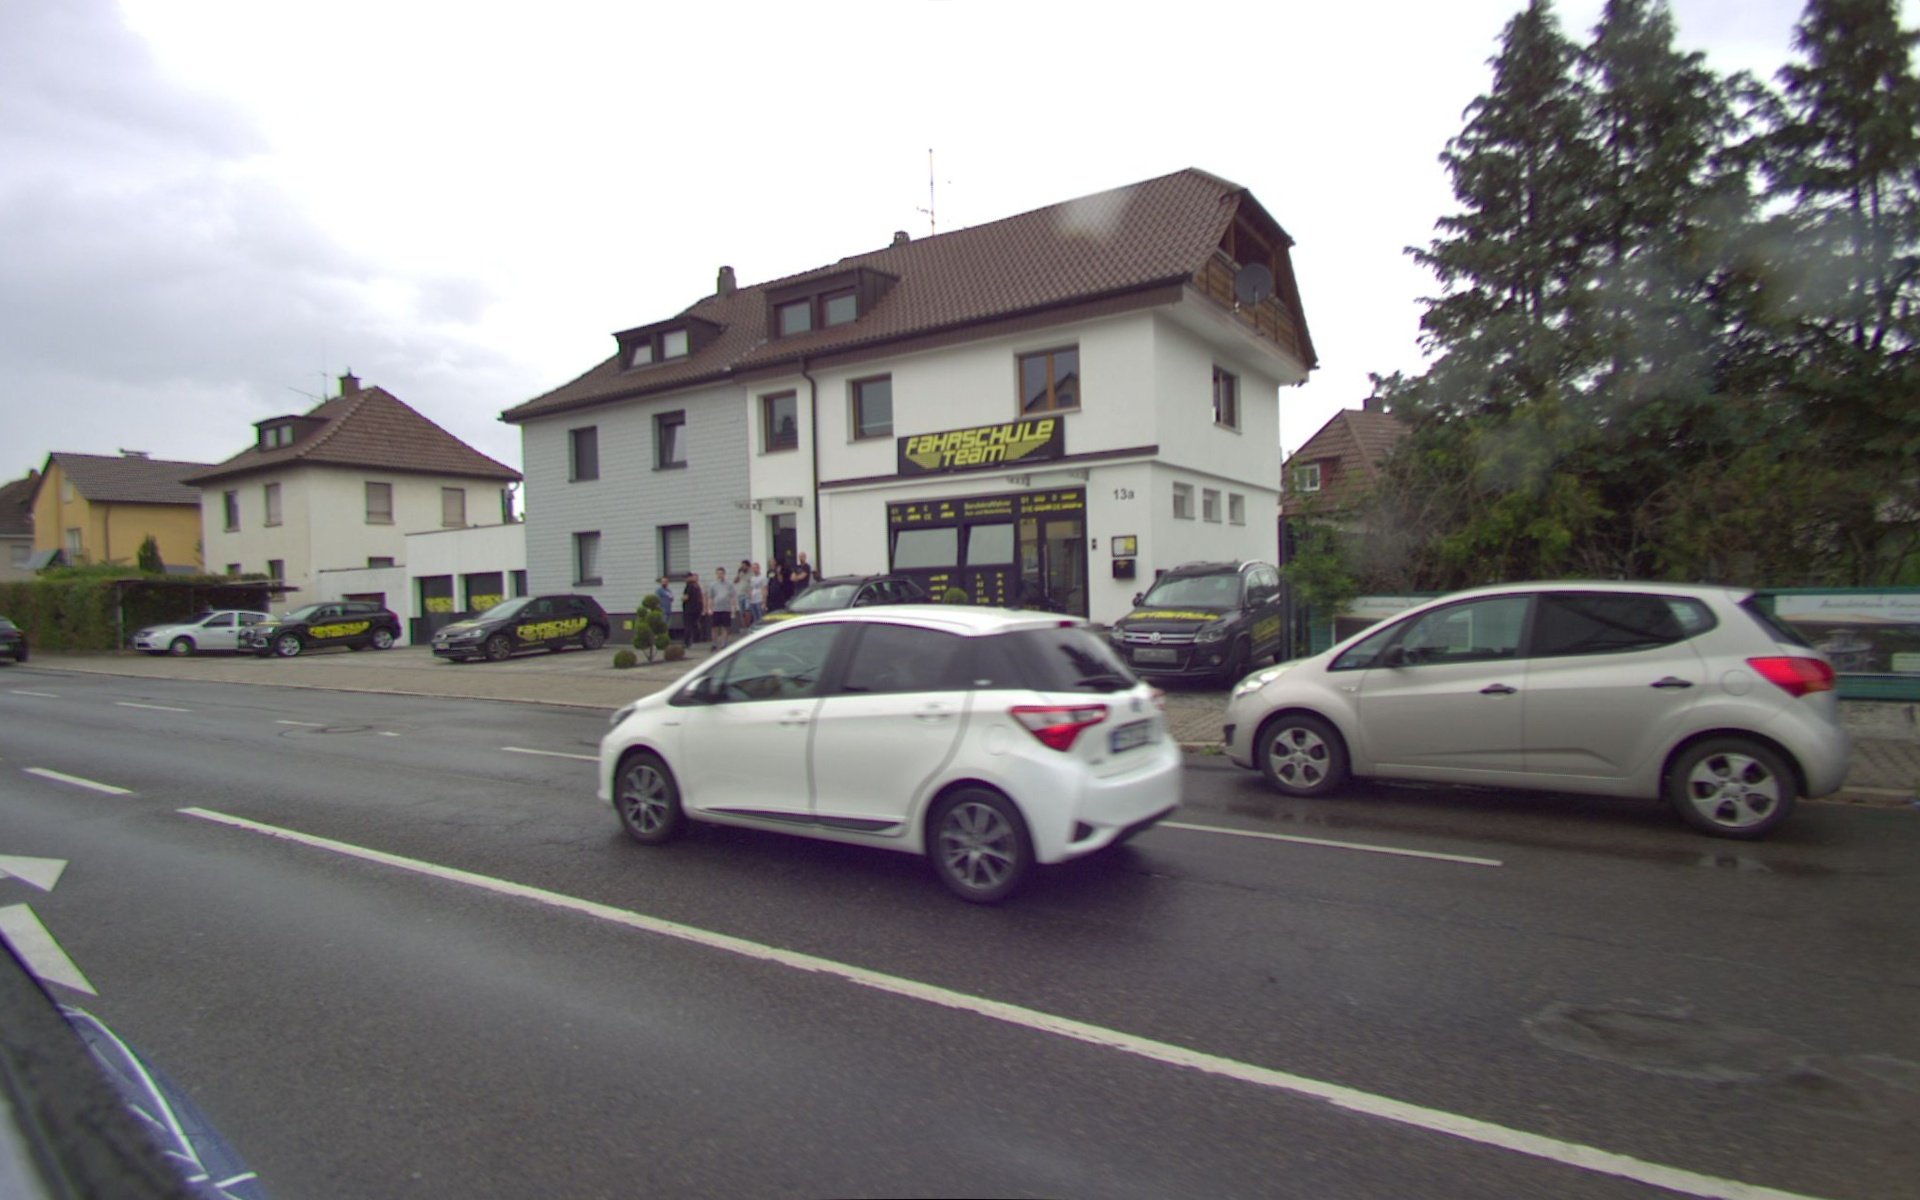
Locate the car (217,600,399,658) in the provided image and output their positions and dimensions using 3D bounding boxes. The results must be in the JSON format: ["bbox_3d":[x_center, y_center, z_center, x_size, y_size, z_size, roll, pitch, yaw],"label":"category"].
[{"bbox_3d":[-19.014,0.798,29.657,1.879,1.430,4.065,-1,1,34],"label":"car"}]

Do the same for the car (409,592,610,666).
[{"bbox_3d":[-10.609,0.627,24.070,1.879,1.430,3.955,-1,2,34],"label":"car"}]

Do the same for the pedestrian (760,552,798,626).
[{"bbox_3d":[-4.251,-0.257,23.788,0.549,1.682,0.569,-1,3,32],"label":"pedestrian"}]

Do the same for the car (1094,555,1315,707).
[{"bbox_3d":[3.706,0.323,14.765,1.735,1.733,4.146,-1,4,34],"label":"car"}]

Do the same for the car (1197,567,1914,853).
[{"bbox_3d":[4.058,0.615,7.512,4.132,1.580,1.789,0,0,34],"label":"car"}]

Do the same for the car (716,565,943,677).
[{"bbox_3d":[-2.261,0.317,18.503,1.868,1.576,3.955,-2,4,35],"label":"car"}]

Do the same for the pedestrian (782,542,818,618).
[{"bbox_3d":[-3.618,-0.452,22.865,0.512,1.682,0.511,-1,3,39],"label":"pedestrian"}]

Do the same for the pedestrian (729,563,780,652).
[{"bbox_3d":[-4.460,0.157,21.991,0.686,1.880,0.725,-1,3,39],"label":"pedestrian"}]

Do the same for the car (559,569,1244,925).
[{"bbox_3d":[-0.493,0.673,6.285,3.990,1.541,1.817,-1,-1,34],"label":"car"}]

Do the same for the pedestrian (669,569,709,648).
[{"bbox_3d":[-6.366,0.198,23.779,0.643,1.800,0.649,-4,1,-32],"label":"pedestrian"}]

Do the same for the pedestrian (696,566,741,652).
[{"bbox_3d":[-5.261,0.186,22.070,0.539,1.802,0.662,-1,3,38],"label":"pedestrian"}]

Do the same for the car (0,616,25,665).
[{"bbox_3d":[-29.885,1.196,30.414,3.990,1.426,1.789,-1,-1,34],"label":"car"}]

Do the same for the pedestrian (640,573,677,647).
[{"bbox_3d":[-7.418,0.239,24.893,0.688,1.766,0.442,-1,3,35],"label":"pedestrian"}]

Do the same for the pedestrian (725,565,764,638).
[{"bbox_3d":[-5.089,0.023,23.905,0.574,1.682,0.578,-1,3,32],"label":"pedestrian"}]

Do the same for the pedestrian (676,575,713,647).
[{"bbox_3d":[-6.524,0.276,24.888,0.560,1.720,0.582,-1,3,32],"label":"pedestrian"}]

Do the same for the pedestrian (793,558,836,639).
[{"bbox_3d":[-3.148,-0.044,21.878,0.664,1.682,0.693,-4,3,-26],"label":"pedestrian"}]

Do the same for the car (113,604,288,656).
[{"bbox_3d":[-24.242,1.021,32.457,1.831,1.495,4.074,-2,-5,27],"label":"car"}]
